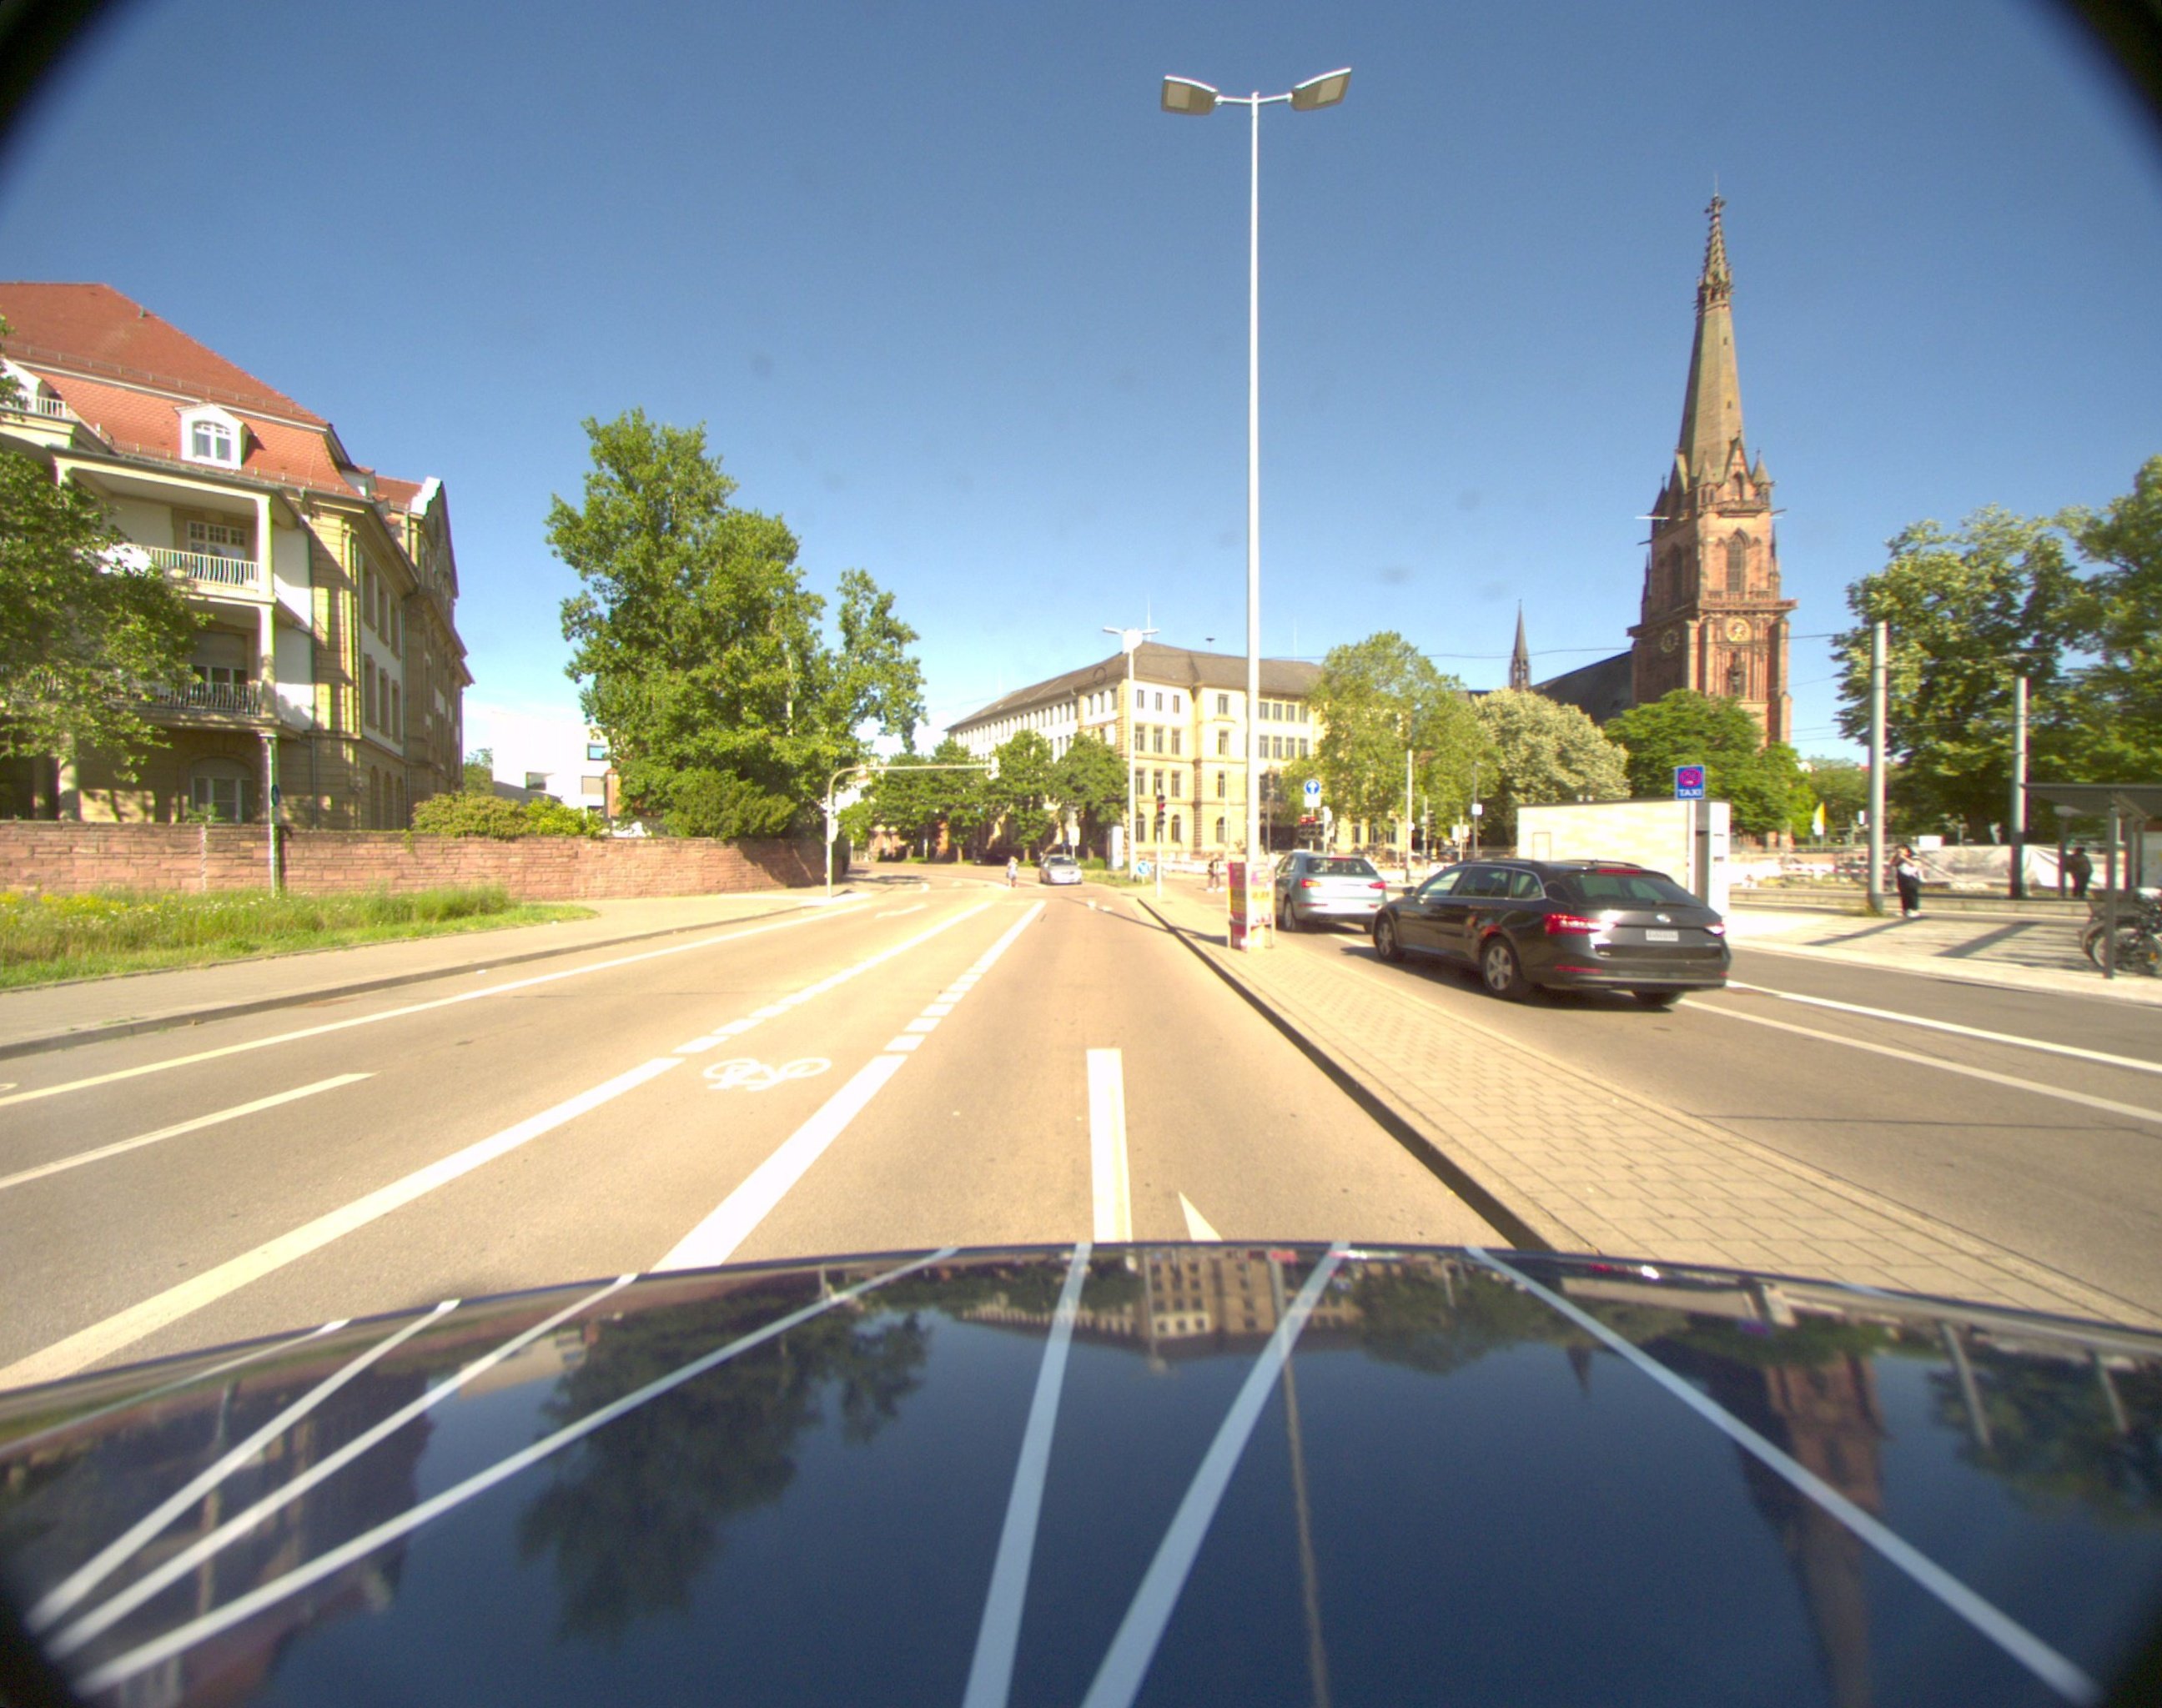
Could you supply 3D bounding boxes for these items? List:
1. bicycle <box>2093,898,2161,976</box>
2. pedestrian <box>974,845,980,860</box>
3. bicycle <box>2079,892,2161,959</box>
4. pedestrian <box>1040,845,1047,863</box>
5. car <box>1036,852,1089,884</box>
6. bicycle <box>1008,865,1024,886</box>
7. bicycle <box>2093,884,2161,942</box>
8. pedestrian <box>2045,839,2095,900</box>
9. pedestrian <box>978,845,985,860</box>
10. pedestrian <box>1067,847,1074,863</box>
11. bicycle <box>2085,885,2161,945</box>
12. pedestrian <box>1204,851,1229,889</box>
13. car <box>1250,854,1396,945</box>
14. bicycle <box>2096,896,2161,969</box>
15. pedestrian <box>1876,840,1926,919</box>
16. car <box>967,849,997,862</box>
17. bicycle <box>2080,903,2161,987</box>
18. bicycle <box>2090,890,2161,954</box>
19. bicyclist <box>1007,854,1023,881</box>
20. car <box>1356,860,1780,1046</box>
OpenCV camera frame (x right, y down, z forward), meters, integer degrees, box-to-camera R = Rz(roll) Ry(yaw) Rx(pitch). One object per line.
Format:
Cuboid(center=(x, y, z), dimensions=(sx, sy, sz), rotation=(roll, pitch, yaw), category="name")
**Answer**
Cuboid(center=(15.026, 1.166, 10.202), dimensions=(0.407, 0.993, 1.678), rotation=(-3, 3, -33), category="bicycle")
Cuboid(center=(-13.385, -0.186, 97.787), dimensions=(0.578, 1.893, 0.781), rotation=(-1, 1, -36), category="pedestrian")
Cuboid(center=(17.181, 1.142, 12.005), dimensions=(0.407, 0.993, 1.679), rotation=(-3, 2, -33), category="bicycle")
Cuboid(center=(-4.311, -0.030, 86.958), dimensions=(0.557, 2.002, 0.645), rotation=(-1, 1, -37), category="pedestrian")
Cuboid(center=(-1.071, 0.717, 41.517), dimensions=(2.000, 1.580, 4.846), rotation=(-3, 1, -12), category="car")
Cuboid(center=(-3.427, 1.123, 39.711), dimensions=(0.741, 0.989, 2.305), rotation=(-2, 1, -6), category="bicycle")
Cuboid(center=(19.510, 1.065, 13.572), dimensions=(0.407, 0.993, 1.679), rotation=(-3, 2, -33), category="bicycle")
Cuboid(center=(30.617, 0.462, 23.531), dimensions=(0.619, 1.849, 0.703), rotation=(0, 1, 11), category="pedestrian")
Cuboid(center=(-12.801, -0.192, 98.108), dimensions=(0.578, 1.893, 0.849), rotation=(-1, 1, -36), category="pedestrian")
Cuboid(center=(-1.131, 0.068, 80.705), dimensions=(0.540, 1.710, 0.545), rotation=(-1, 1, -37), category="pedestrian")
Cuboid(center=(19.024, 1.084, 13.330), dimensions=(0.407, 0.993, 1.679), rotation=(-3, 2, -33), category="bicycle")
Cuboid(center=(5.876, 0.683, 32.979), dimensions=(0.932, 1.657, 0.630), rotation=(0, 1, -10), category="pedestrian")
Cuboid(center=(4.810, 0.813, 15.746), dimensions=(1.792, 1.572, 4.258), rotation=(1, 0, 3), category="car")
Cuboid(center=(16.124, 1.183, 10.992), dimensions=(0.407, 0.993, 1.678), rotation=(-3, 3, -33), category="bicycle")
Cuboid(center=(19.585, 0.596, 18.146), dimensions=(0.703, 1.849, 0.619), rotation=(-1, 1, -26), category="pedestrian")
Cuboid(center=(-11.797, 0.147, 90.414), dimensions=(1.839, 1.587, 3.989), rotation=(-1, 1, -37), category="car")
Cuboid(center=(13.981, 1.189, 9.544), dimensions=(0.407, 0.993, 1.678), rotation=(-3, 3, -33), category="bicycle")
Cuboid(center=(17.960, 1.138, 12.452), dimensions=(0.407, 0.993, 1.679), rotation=(-3, 2, -33), category="bicycle")
Cuboid(center=(-3.458, 0.708, 39.786), dimensions=(0.741, 1.363, 0.626), rotation=(-2, 1, -6), category="bicyclist")
Cuboid(center=(5.071, 0.879, 8.946), dimensions=(1.818, 1.496, 4.783), rotation=(2, 0, -1), category="car")
